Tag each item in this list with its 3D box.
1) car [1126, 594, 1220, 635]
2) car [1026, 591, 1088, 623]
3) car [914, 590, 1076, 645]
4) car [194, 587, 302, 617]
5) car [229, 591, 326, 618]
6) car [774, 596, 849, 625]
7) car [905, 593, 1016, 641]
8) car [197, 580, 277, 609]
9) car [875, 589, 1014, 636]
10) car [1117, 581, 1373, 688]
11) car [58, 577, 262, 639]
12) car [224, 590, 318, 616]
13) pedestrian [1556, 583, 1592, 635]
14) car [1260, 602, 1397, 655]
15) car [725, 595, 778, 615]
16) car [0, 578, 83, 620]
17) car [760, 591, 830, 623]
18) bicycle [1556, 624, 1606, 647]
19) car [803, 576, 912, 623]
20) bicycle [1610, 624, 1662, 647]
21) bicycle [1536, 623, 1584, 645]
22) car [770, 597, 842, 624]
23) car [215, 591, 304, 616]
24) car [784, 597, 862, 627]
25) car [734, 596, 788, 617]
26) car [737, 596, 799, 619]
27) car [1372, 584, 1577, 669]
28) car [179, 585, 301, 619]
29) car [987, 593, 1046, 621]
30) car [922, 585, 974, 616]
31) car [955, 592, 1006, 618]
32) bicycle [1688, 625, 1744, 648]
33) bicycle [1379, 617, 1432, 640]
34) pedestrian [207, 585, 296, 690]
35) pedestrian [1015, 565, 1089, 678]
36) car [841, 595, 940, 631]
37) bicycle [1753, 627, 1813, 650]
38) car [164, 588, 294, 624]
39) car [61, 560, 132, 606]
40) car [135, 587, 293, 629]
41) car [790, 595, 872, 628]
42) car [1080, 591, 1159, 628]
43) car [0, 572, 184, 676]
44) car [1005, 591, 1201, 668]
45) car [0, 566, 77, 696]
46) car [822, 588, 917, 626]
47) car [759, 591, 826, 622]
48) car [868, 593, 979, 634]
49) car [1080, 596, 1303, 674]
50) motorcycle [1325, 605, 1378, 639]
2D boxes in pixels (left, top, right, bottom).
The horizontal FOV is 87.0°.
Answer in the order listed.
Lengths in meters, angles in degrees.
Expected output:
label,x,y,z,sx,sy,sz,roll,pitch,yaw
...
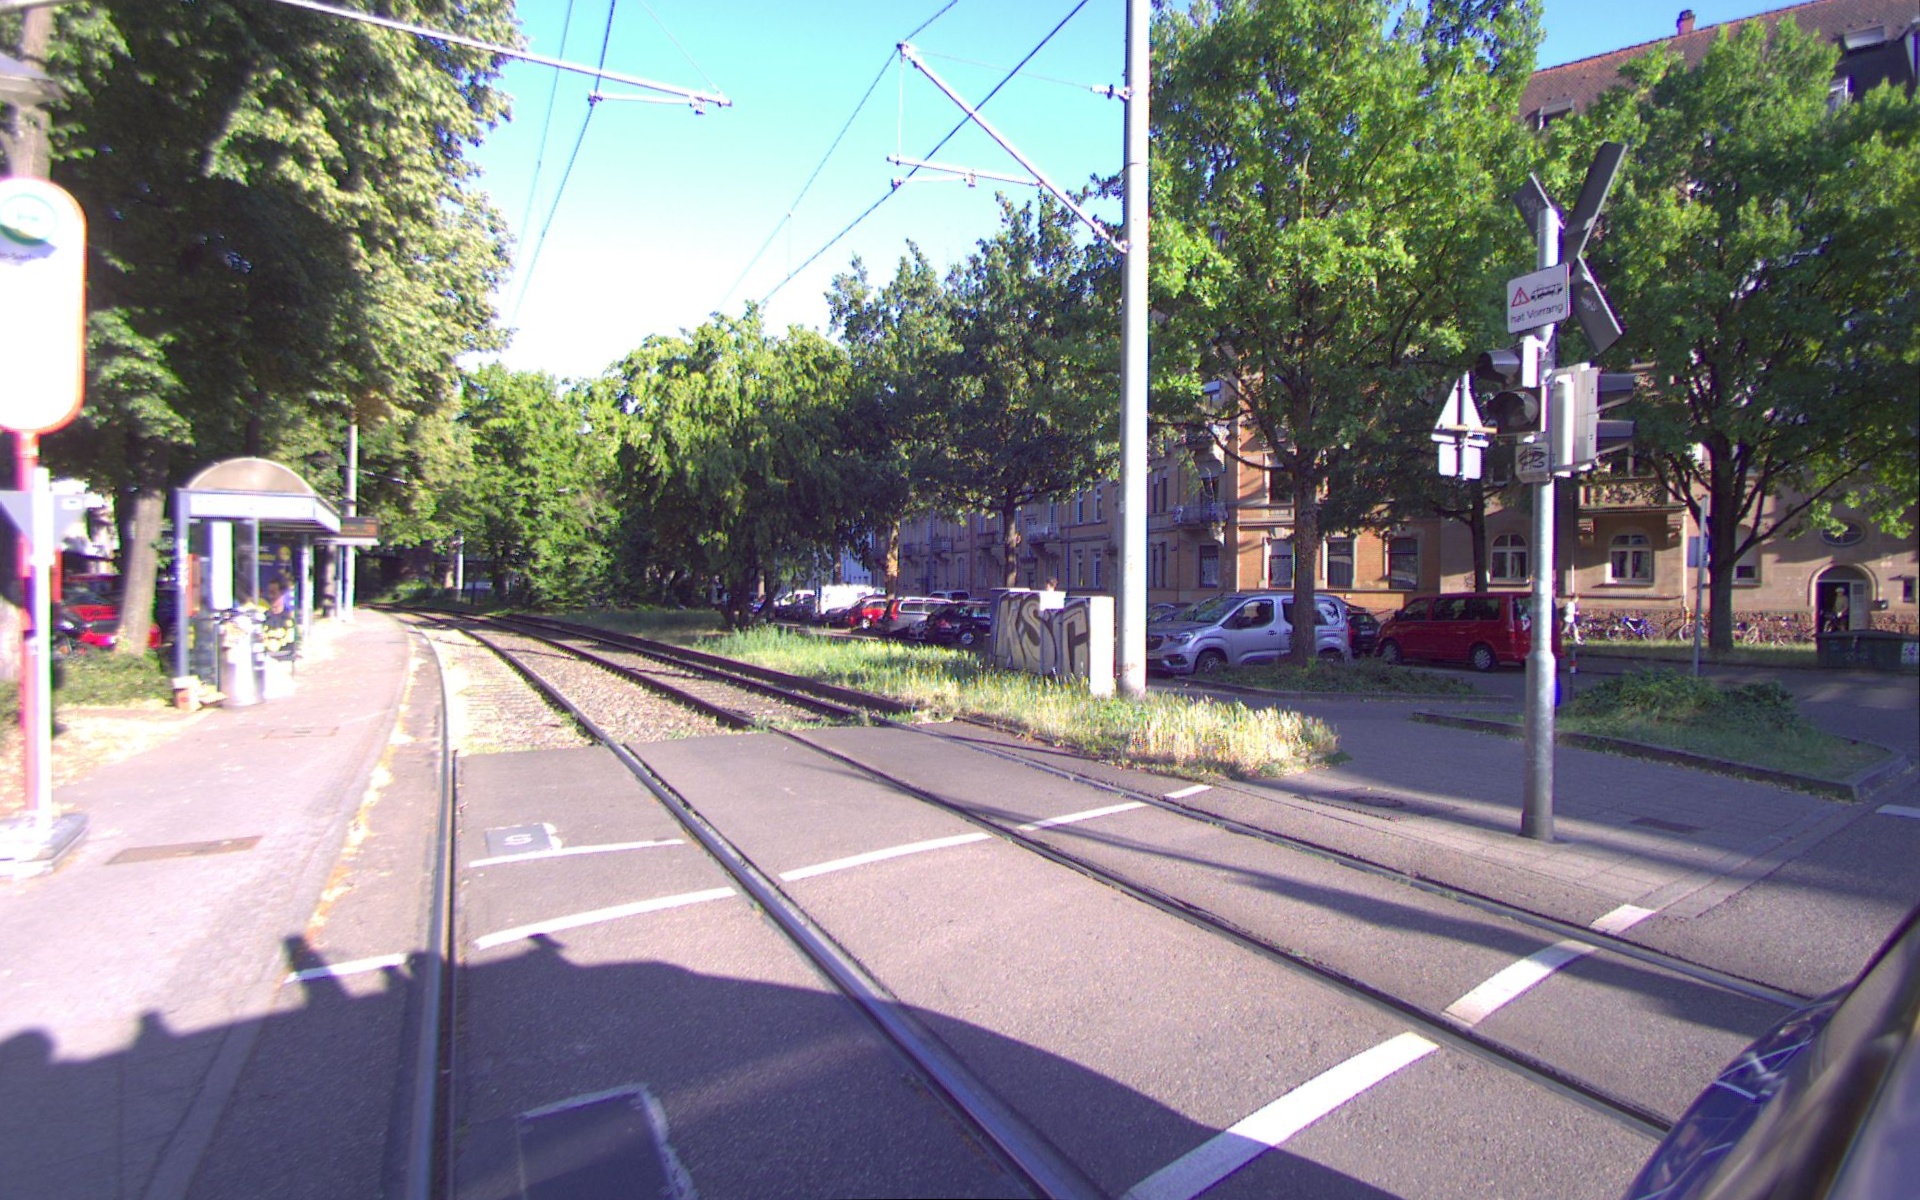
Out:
label,x,y,z,sx,sy,sz,roll,pitch,yaw
car,8.367,0.531,40.100,1.744,1.494,4.279,-1,1,-17
car,4.761,0.310,50.148,1.654,1.494,3.716,-1,1,-19
car,1.074,0.540,31.587,4.616,1.592,2.005,1,1,-17
car,-33.927,0.077,48.295,3.925,1.295,1.747,2,0,2
car,-35.584,0.234,52.827,3.925,1.295,1.747,2,0,2
car,-8.396,0.574,57.305,3.915,1.507,1.688,2,0,-19
car,-0.001,0.566,33.930,3.337,1.533,1.722,1,-1,-17
car,-48.413,-0.353,67.838,3.916,1.789,1.751,2,-1,-12
car,-0.576,0.456,36.604,4.616,1.592,2.005,1,1,-17
car,5.569,0.640,19.878,4.457,1.938,1.954,1,1,-17
car,-21.547,0.201,27.345,4.206,1.506,1.806,2,0,5
car,-37.690,0.175,55.414,3.925,1.295,1.747,2,0,2
pedestrian,20.904,0.309,34.464,0.908,1.740,0.666,-2,-1,40
car,11.325,0.810,31.417,1.744,1.451,4.279,-1,1,-17
car,-17.232,0.403,83.574,4.046,1.541,1.688,2,-1,-19
car,-37.985,-0.056,41.680,1.960,1.587,4.616,2,0,-31
car,-10.119,0.445,61.982,3.915,1.856,1.688,2,-1,-19
bicycle,22.177,1.255,36.138,1.500,0.741,0.364,1,0,35
car,-4.918,-0.028,48.499,4.757,2.064,2.159,2,-1,-19
bicycle,23.699,1.242,35.514,1.500,0.741,0.364,1,0,35
bicycle,21.844,1.249,36.847,1.500,0.741,0.364,1,0,35
car,-9.120,0.626,59.999,3.915,1.507,1.688,2,0,-19
car,-40.124,0.181,58.028,3.925,1.295,1.747,2,0,2
car,-7.417,0.624,54.864,3.915,1.507,1.688,2,0,-19
car,-15.574,0.513,79.108,3.915,1.507,1.688,2,0,-19
car,-13.184,0.509,69.399,3.915,1.507,1.688,2,0,-19
car,13.094,0.598,26.131,1.744,1.958,4.782,-1,1,-20
car,-30.412,0.072,42.802,3.925,1.295,1.747,2,0,2
car,3.036,0.355,55.121,1.732,1.401,4.299,-1,1,-18
car,-0.835,0.030,65.117,1.873,1.906,4.735,-1,1,-20
car,1.169,0.272,59.837,1.732,1.456,3.896,-1,1,-20
bicycle,25.660,1.237,34.368,1.500,0.741,0.364,1,0,35
bicycle,17.678,1.133,40.157,1.887,0.859,0.519,0,-1,36
pedestrian,-9.082,0.460,13.009,0.808,1.289,0.878,1,0,-27
pedestrian,1.635,0.378,18.135,0.886,1.943,1.152,2,-1,-19
car,-3.019,0.554,43.845,3.915,1.441,1.688,2,0,-19
bicycle,27.023,1.245,33.249,1.500,0.741,0.364,-1,-1,35
car,-29.092,0.250,40.351,3.925,1.295,1.747,2,0,2
car,-43.984,-0.854,51.639,1.960,2.200,4.616,2,0,-31
car,-25.817,0.264,35.098,4.203,1.295,1.808,2,0,2
car,-6.671,0.586,52.479,3.915,1.573,1.688,2,-1,-19
car,6.930,0.375,44.311,1.654,1.494,3.889,-1,1,-21
car,-17.075,0.371,18.643,4.481,1.743,1.923,2,0,11
car,3.499,0.687,24.750,4.358,1.712,1.954,1,1,-25
car,-13.322,0.295,11.773,4.468,1.506,1.928,2,0,2
car,-4.113,0.320,45.910,3.916,1.600,1.769,2,-1,-22
car,-10.645,0.431,64.374,3.915,1.856,1.688,2,-1,-19
car,-1.405,0.512,39.046,3.915,1.479,1.688,2,0,-19
car,5.142,0.751,22.630,4.457,1.592,1.954,1,1,-17
motorcycle,15.947,0.892,41.189,1.887,1.370,0.800,0,-1,35
